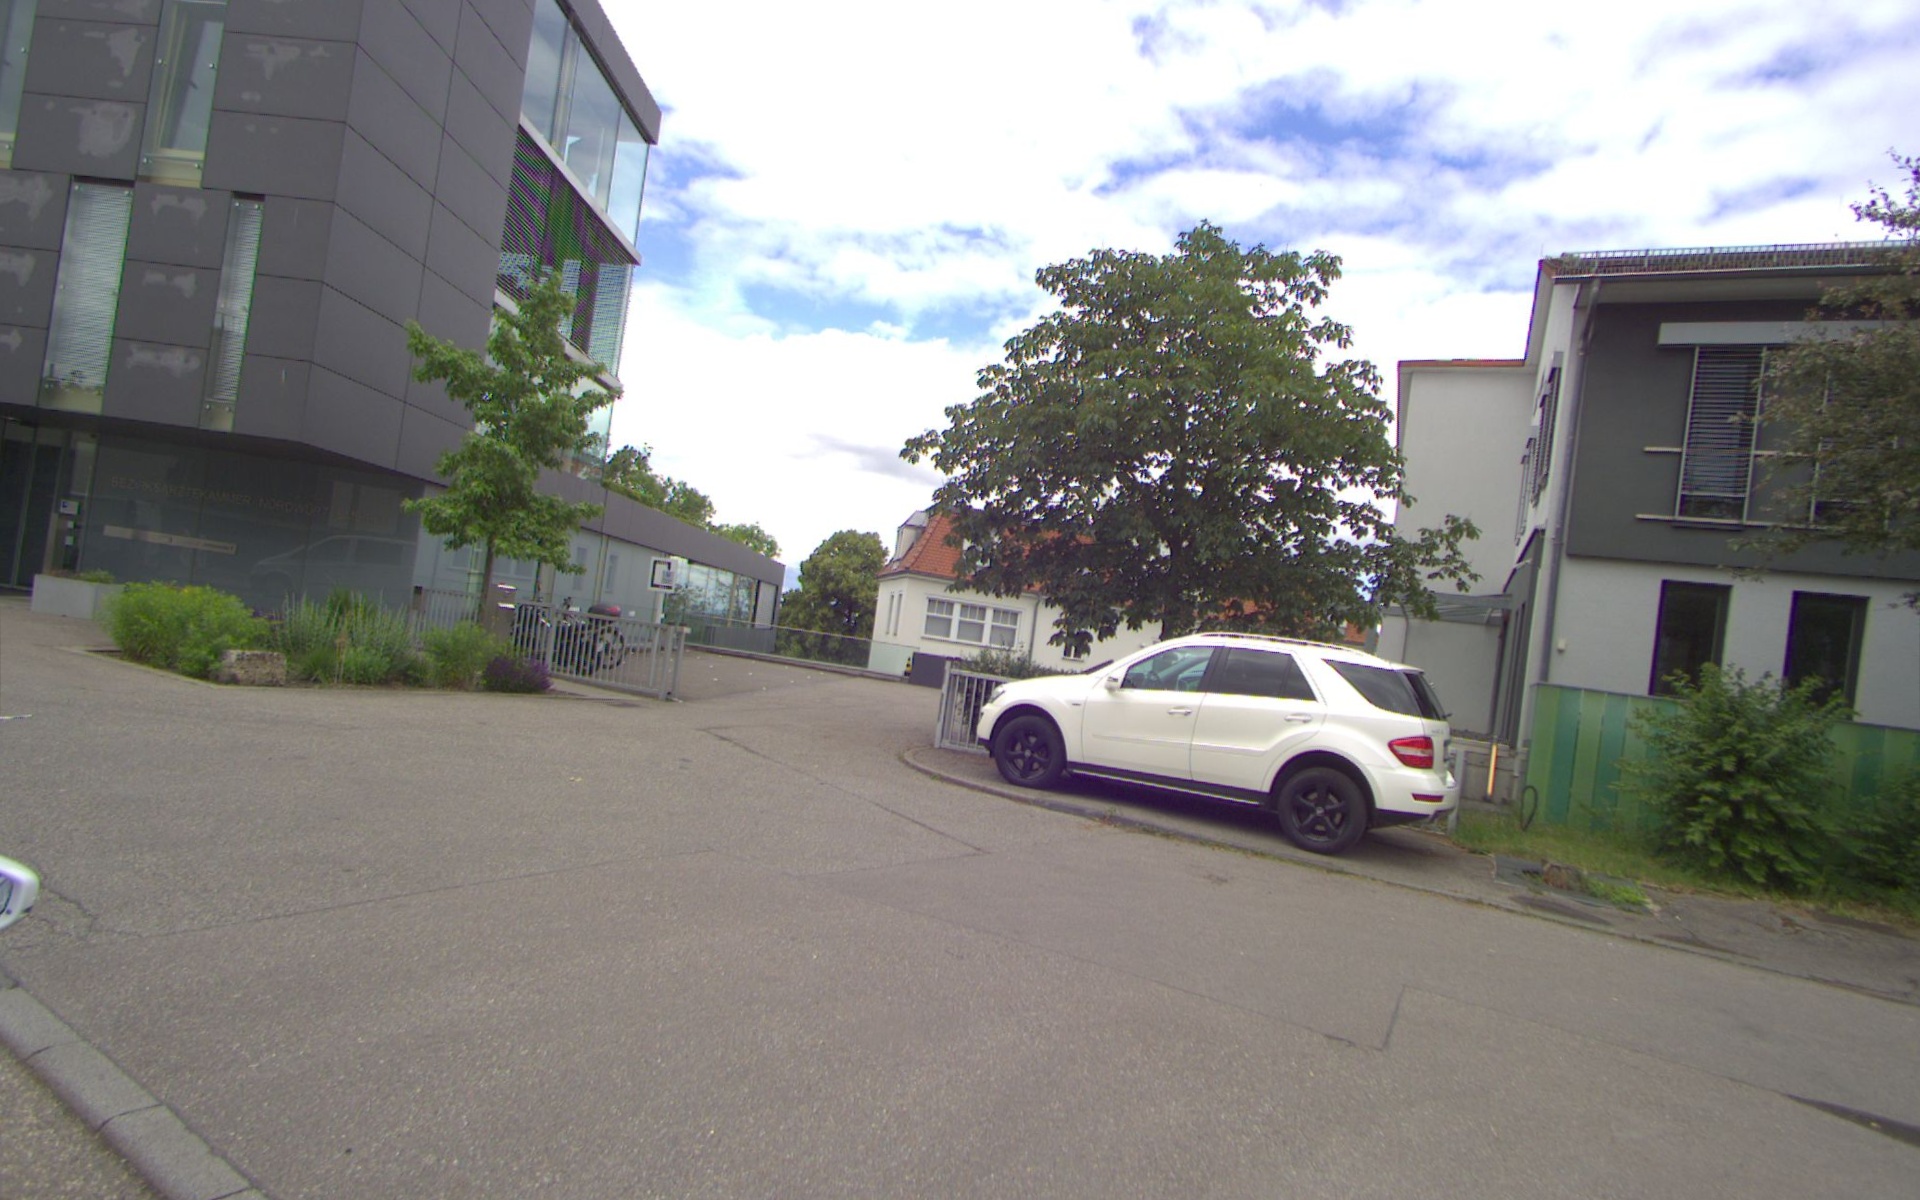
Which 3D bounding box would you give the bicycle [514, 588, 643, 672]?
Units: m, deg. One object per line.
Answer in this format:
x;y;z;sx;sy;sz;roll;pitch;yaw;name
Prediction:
-7.179;0.568;18.959;2.063;1.275;0.616;8;-1;5;bicycle

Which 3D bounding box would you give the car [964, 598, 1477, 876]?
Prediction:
2.527;1.168;10.049;4.442;1.860;1.996;6;-1;31;car

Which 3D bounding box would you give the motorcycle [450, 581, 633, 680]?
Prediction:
-7.063;0.518;17.059;2.643;1.275;0.850;8;-1;5;motorcycle
